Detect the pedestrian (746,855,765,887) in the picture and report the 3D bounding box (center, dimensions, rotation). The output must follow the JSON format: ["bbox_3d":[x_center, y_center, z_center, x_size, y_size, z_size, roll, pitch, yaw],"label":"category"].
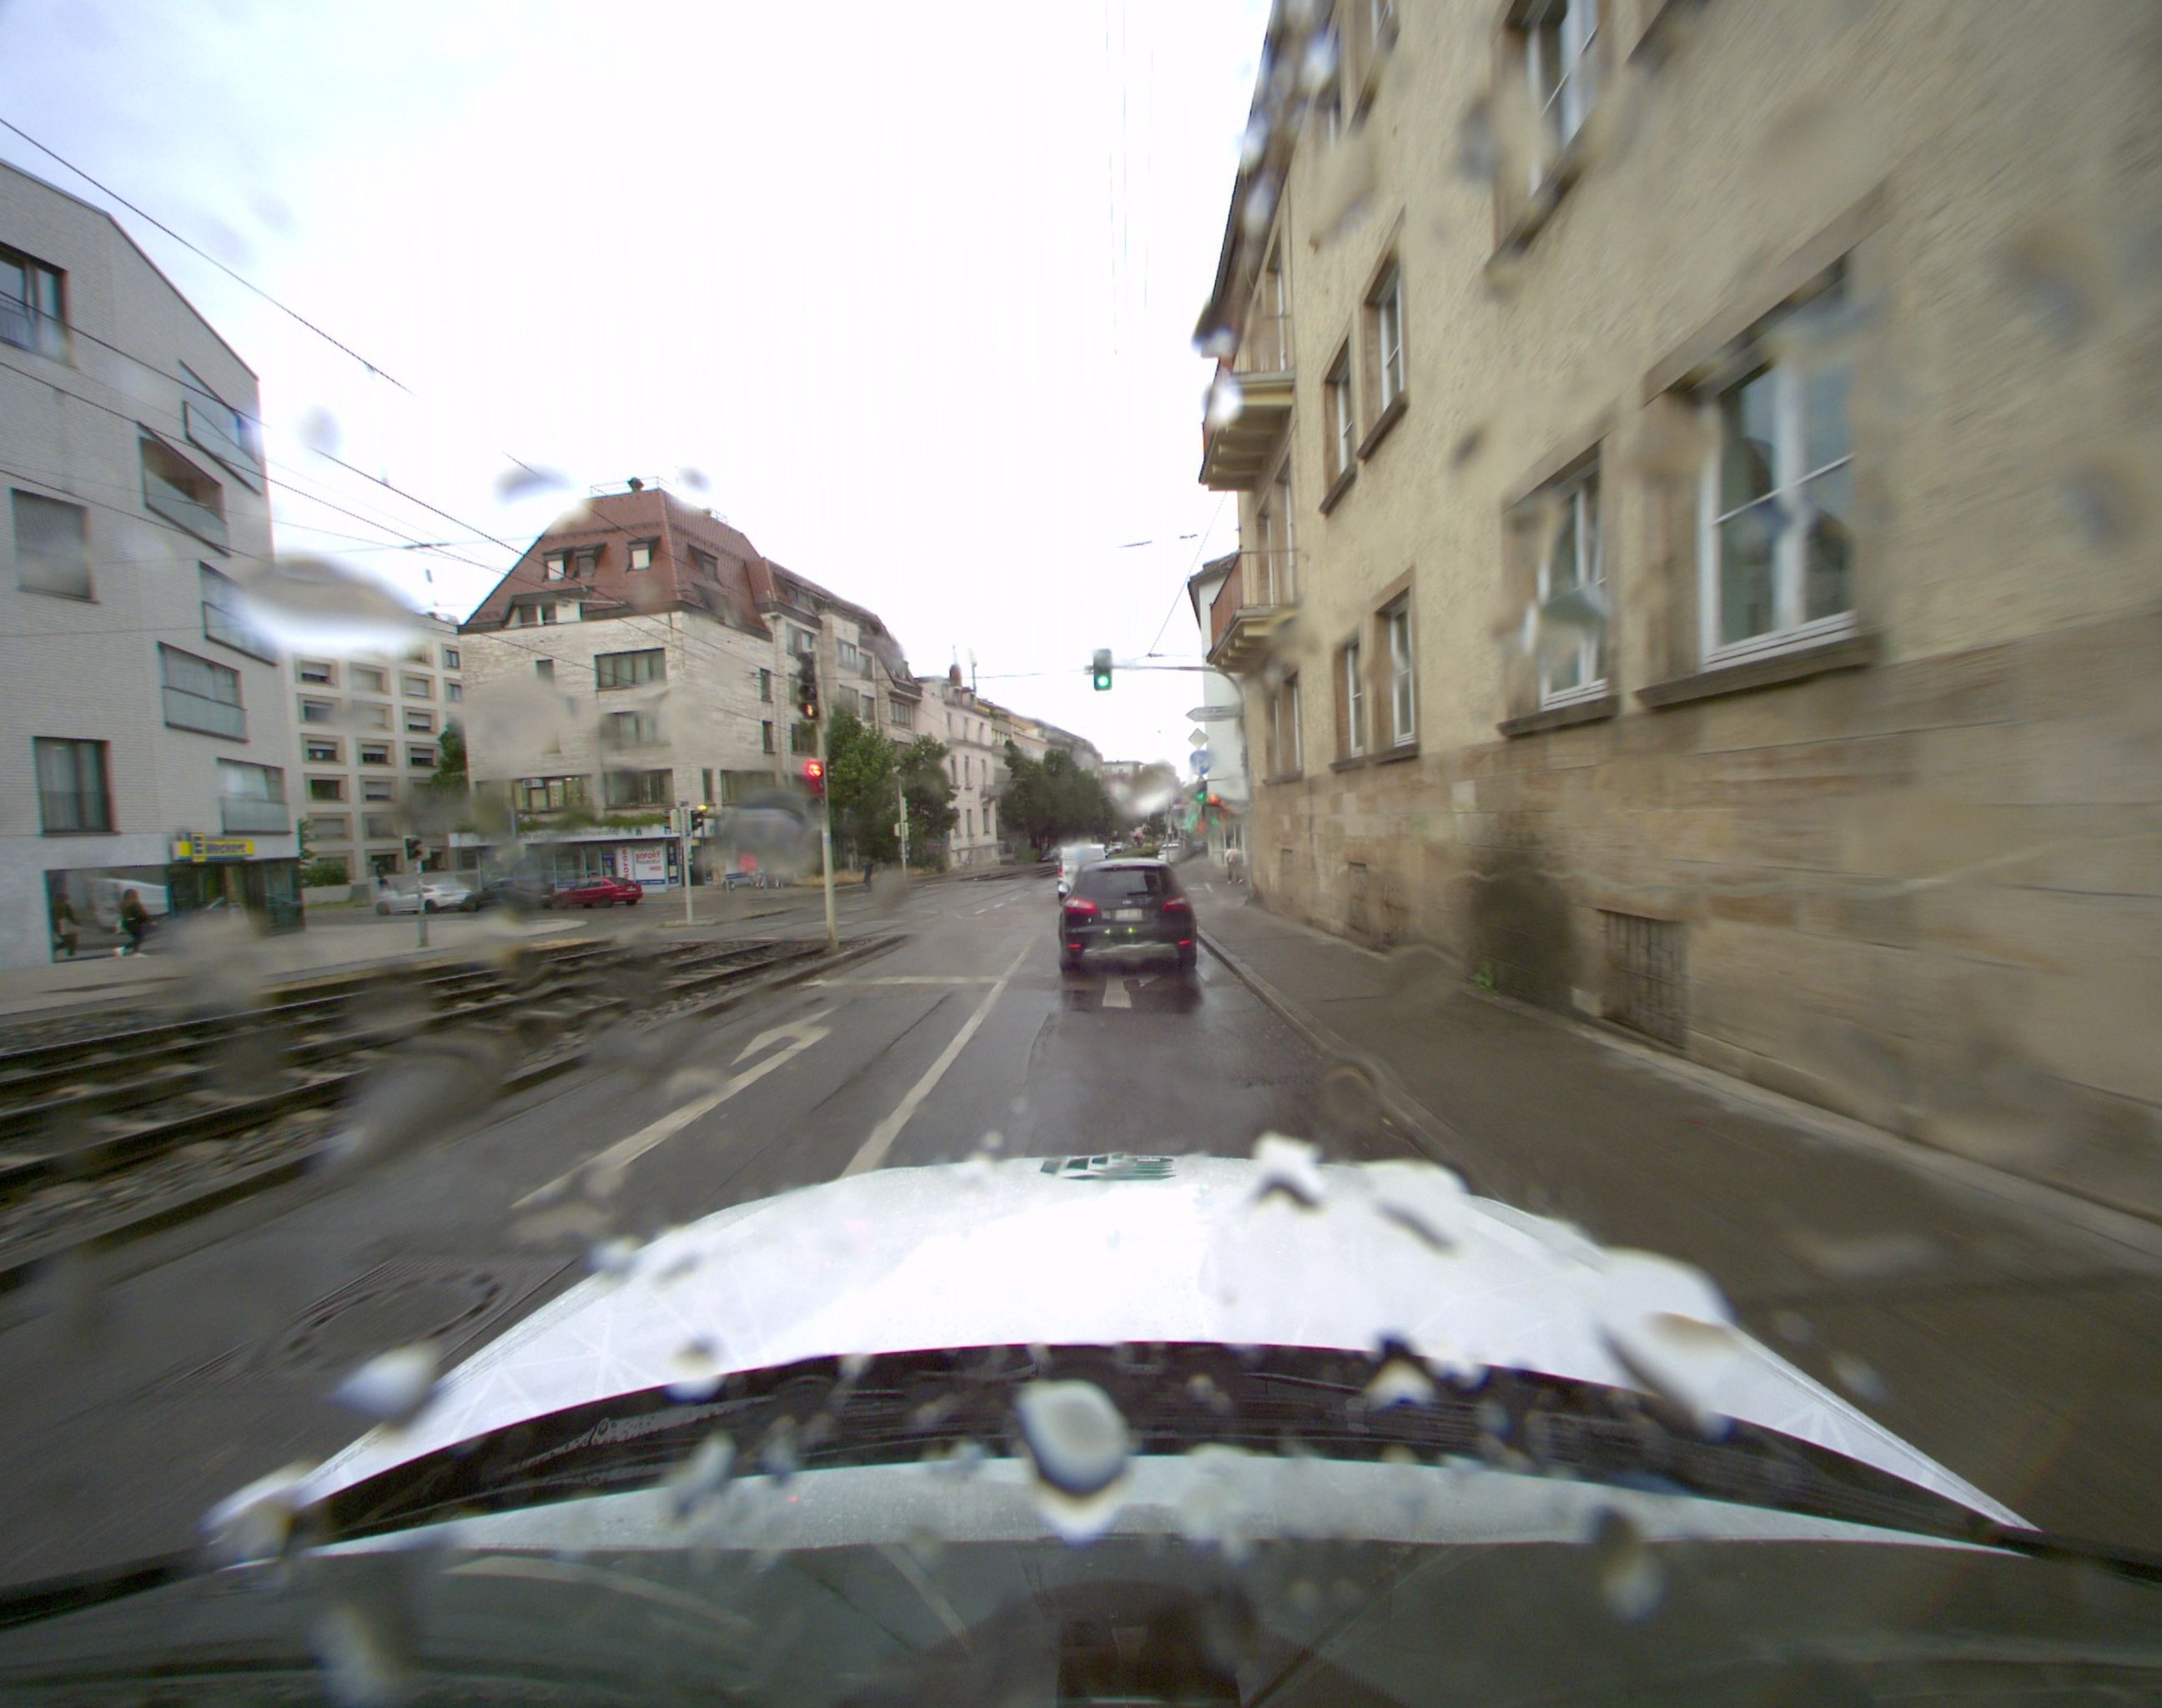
[{"bbox_3d":[-18.025,0.936,45.110,0.643,1.749,0.686,0,-1,10],"label":"pedestrian"}]

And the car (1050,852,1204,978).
[{"bbox_3d":[0.624,0.752,11.812,1.835,1.507,4.002,0,-1,2],"label":"car"}]

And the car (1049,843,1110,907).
[{"bbox_3d":[-0.003,0.703,28.842,1.981,2.060,4.646,0,-1,1],"label":"car"}]

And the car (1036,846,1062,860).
[{"bbox_3d":[-3.433,-0.105,88.846,1.682,1.377,4.736,-2,-1,12],"label":"car"}]

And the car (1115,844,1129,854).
[{"bbox_3d":[7.162,-0.897,140.742,1.683,1.573,4.060,-2,-1,12],"label":"car"}]

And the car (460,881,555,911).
[{"bbox_3d":[-27.584,2.009,39.227,3.669,1.318,1.599,-2,-1,11],"label":"car"}]

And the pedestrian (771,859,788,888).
[{"bbox_3d":[-16.642,1.065,44.966,0.643,1.549,0.686,0,-1,10],"label":"pedestrian"}]

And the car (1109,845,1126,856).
[{"bbox_3d":[6.023,-0.526,134.007,1.843,1.637,4.952,-2,-1,12],"label":"car"}]

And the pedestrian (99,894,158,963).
[{"bbox_3d":[-23.047,1.785,19.723,0.650,1.569,0.771,-1,0,-26],"label":"pedestrian"}]

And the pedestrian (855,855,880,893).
[{"bbox_3d":[-10.488,0.961,40.074,0.926,1.830,0.960,0,-1,4],"label":"pedestrian"}]

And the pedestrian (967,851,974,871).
[{"bbox_3d":[-9.576,0.605,70.610,0.466,1.652,0.582,0,-1,0],"label":"pedestrian"}]

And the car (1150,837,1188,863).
[{"bbox_3d":[5.541,-0.215,50.982,1.789,1.455,4.602,-3,-1,13],"label":"car"}]

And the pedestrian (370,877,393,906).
[{"bbox_3d":[-38.640,2.057,44.960,0.677,1.549,0.651,0,-1,10],"label":"pedestrian"}]

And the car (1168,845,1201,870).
[{"bbox_3d":[7.381,0.225,57.743,1.832,1.632,4.602,-2,0,13],"label":"car"}]

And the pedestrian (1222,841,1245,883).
[{"bbox_3d":[5.980,0.321,31.953,0.686,1.572,0.763,-3,-1,1],"label":"pedestrian"}]

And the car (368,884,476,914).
[{"bbox_3d":[-32.431,2.208,40.109,4.458,1.318,1.599,-2,-1,11],"label":"car"}]

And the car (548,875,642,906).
[{"bbox_3d":[-22.882,1.707,38.381,3.669,1.318,1.599,-2,-1,11],"label":"car"}]

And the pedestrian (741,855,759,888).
[{"bbox_3d":[-18.702,0.973,46.050,0.643,1.842,0.686,0,-1,10],"label":"pedestrian"}]

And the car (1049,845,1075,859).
[{"bbox_3d":[-2.183,-0.217,95.147,1.843,1.548,4.737,-2,-1,12],"label":"car"}]

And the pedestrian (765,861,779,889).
[{"bbox_3d":[-17.450,1.180,46.012,0.501,1.598,0.587,0,-1,10],"label":"pedestrian"}]

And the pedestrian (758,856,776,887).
[{"bbox_3d":[-17.345,0.962,44.979,0.643,1.724,0.686,0,-1,10],"label":"pedestrian"}]

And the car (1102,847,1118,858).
[{"bbox_3d":[4.461,-0.246,124.856,1.656,1.558,4.060,-2,-1,12],"label":"car"}]
